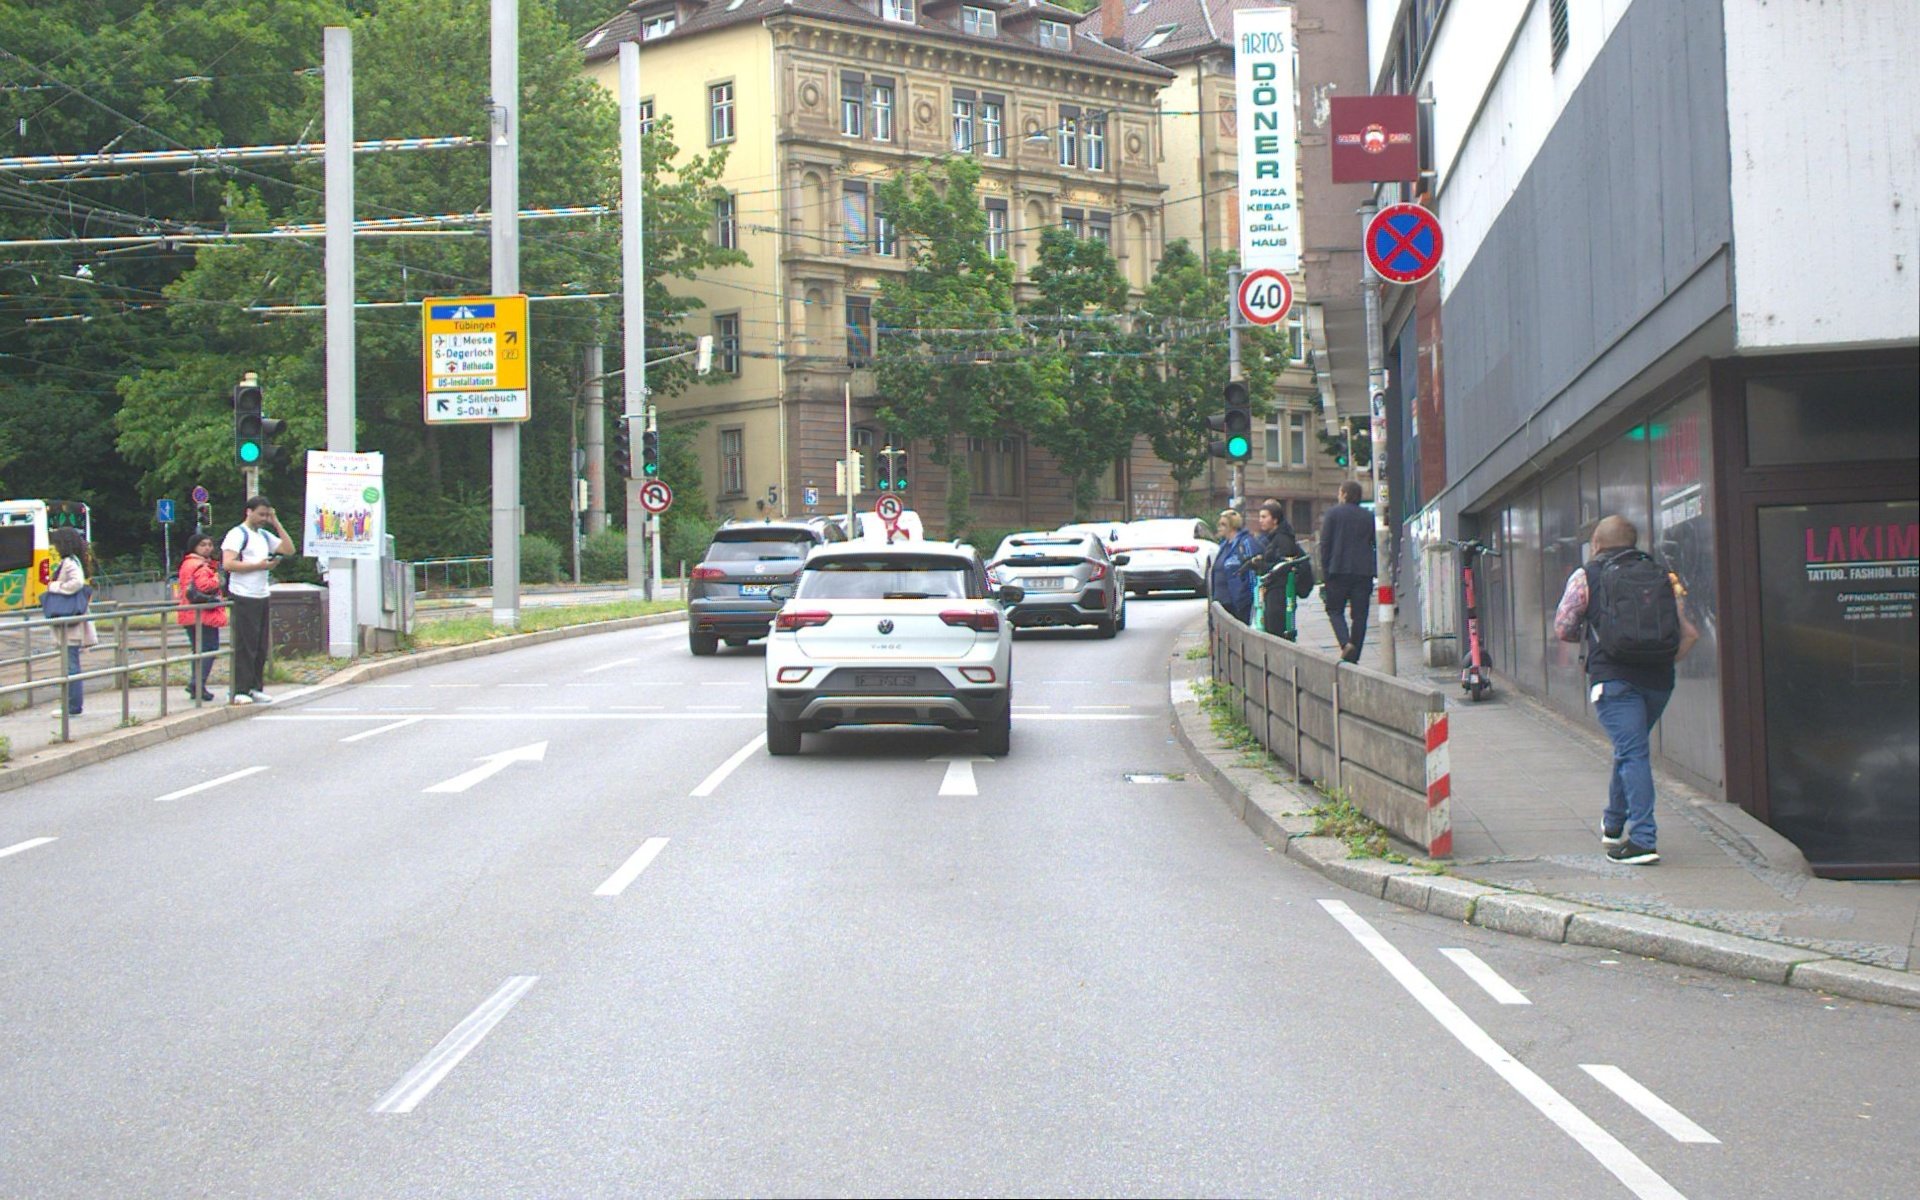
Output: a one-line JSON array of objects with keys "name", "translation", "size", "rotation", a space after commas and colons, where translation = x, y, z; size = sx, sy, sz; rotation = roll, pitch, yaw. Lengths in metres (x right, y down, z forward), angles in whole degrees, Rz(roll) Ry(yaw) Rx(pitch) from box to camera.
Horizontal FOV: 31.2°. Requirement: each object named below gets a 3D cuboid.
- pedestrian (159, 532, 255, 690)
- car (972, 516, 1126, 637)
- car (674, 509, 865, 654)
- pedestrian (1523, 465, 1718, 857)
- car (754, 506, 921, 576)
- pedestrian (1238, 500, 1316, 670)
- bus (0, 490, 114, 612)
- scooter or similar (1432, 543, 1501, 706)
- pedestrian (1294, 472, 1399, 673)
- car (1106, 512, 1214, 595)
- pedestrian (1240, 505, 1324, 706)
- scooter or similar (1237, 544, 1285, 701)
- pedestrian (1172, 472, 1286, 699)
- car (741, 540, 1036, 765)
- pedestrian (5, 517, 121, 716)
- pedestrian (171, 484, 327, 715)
[{"name": "pedestrian", "translation": [-7.151, 0.115, 32.659], "size": [0.577, 1.459, 0.675], "rotation": [-3, -3, 19]}, {"name": "car", "translation": [1.248, -0.337, 46.608], "size": [1.903, 1.568, 3.834], "rotation": [0, 1, 4]}, {"name": "car", "translation": [-2.338, -0.267, 43.206], "size": [1.840, 1.734, 3.999], "rotation": [0, 1, 5]}, {"name": "pedestrian", "translation": [3.071, 0.270, 16.043], "size": [0.720, 1.779, 0.883], "rotation": [0, 1, -1]}, {"name": "car", "translation": [-3.513, -1.674, 99.676], "size": [1.998, 1.843, 4.981], "rotation": [-1, -1, 41]}, {"name": "pedestrian", "translation": [3.194, -0.157, 34.689], "size": [0.562, 1.646, 0.591], "rotation": [-7, 1, 4]}, {"name": "bus", "translation": [-28.208, -1.128, 89.729], "size": [11.517, 3.018, 3.388], "rotation": [-2, 1, 14]}, {"name": "scooter or similar", "translation": [4.092, 0.187, 27.734], "size": [0.428, 1.271, 0.980], "rotation": [-1, 1, 14]}, {"name": "pedestrian", "translation": [3.658, -0.267, 32.561], "size": [0.727, 1.802, 0.654], "rotation": [-8, 1, 4]}, {"name": "car", "translation": [3.735, -0.889, 64.867], "size": [1.938, 1.501, 3.806], "rotation": [-1, 1, 2]}, {"name": "pedestrian", "translation": [2.885, 0.043, 30.854], "size": [0.738, 1.787, 0.655], "rotation": [0, 1, 4]}, {"name": "scooter or similar", "translation": [2.489, 0.178, 28.450], "size": [0.354, 1.271, 0.813], "rotation": [0, 1, 2]}, {"name": "pedestrian", "translation": [2.519, -0.140, 32.262], "size": [0.946, 2.055, 0.778], "rotation": [3, 1, 4]}, {"name": "car", "translation": [-0.461, 0.333, 26.164], "size": [1.938, 1.561, 4.046], "rotation": [0, 1, 3]}, {"name": "pedestrian", "translation": [-7.524, 0.125, 28.870], "size": [0.675, 1.619, 1.001], "rotation": [-2, 1, -1]}, {"name": "pedestrian", "translation": [-6.572, 0.013, 31.802], "size": [0.966, 2.060, 1.031], "rotation": [-3, -3, 19]}]
